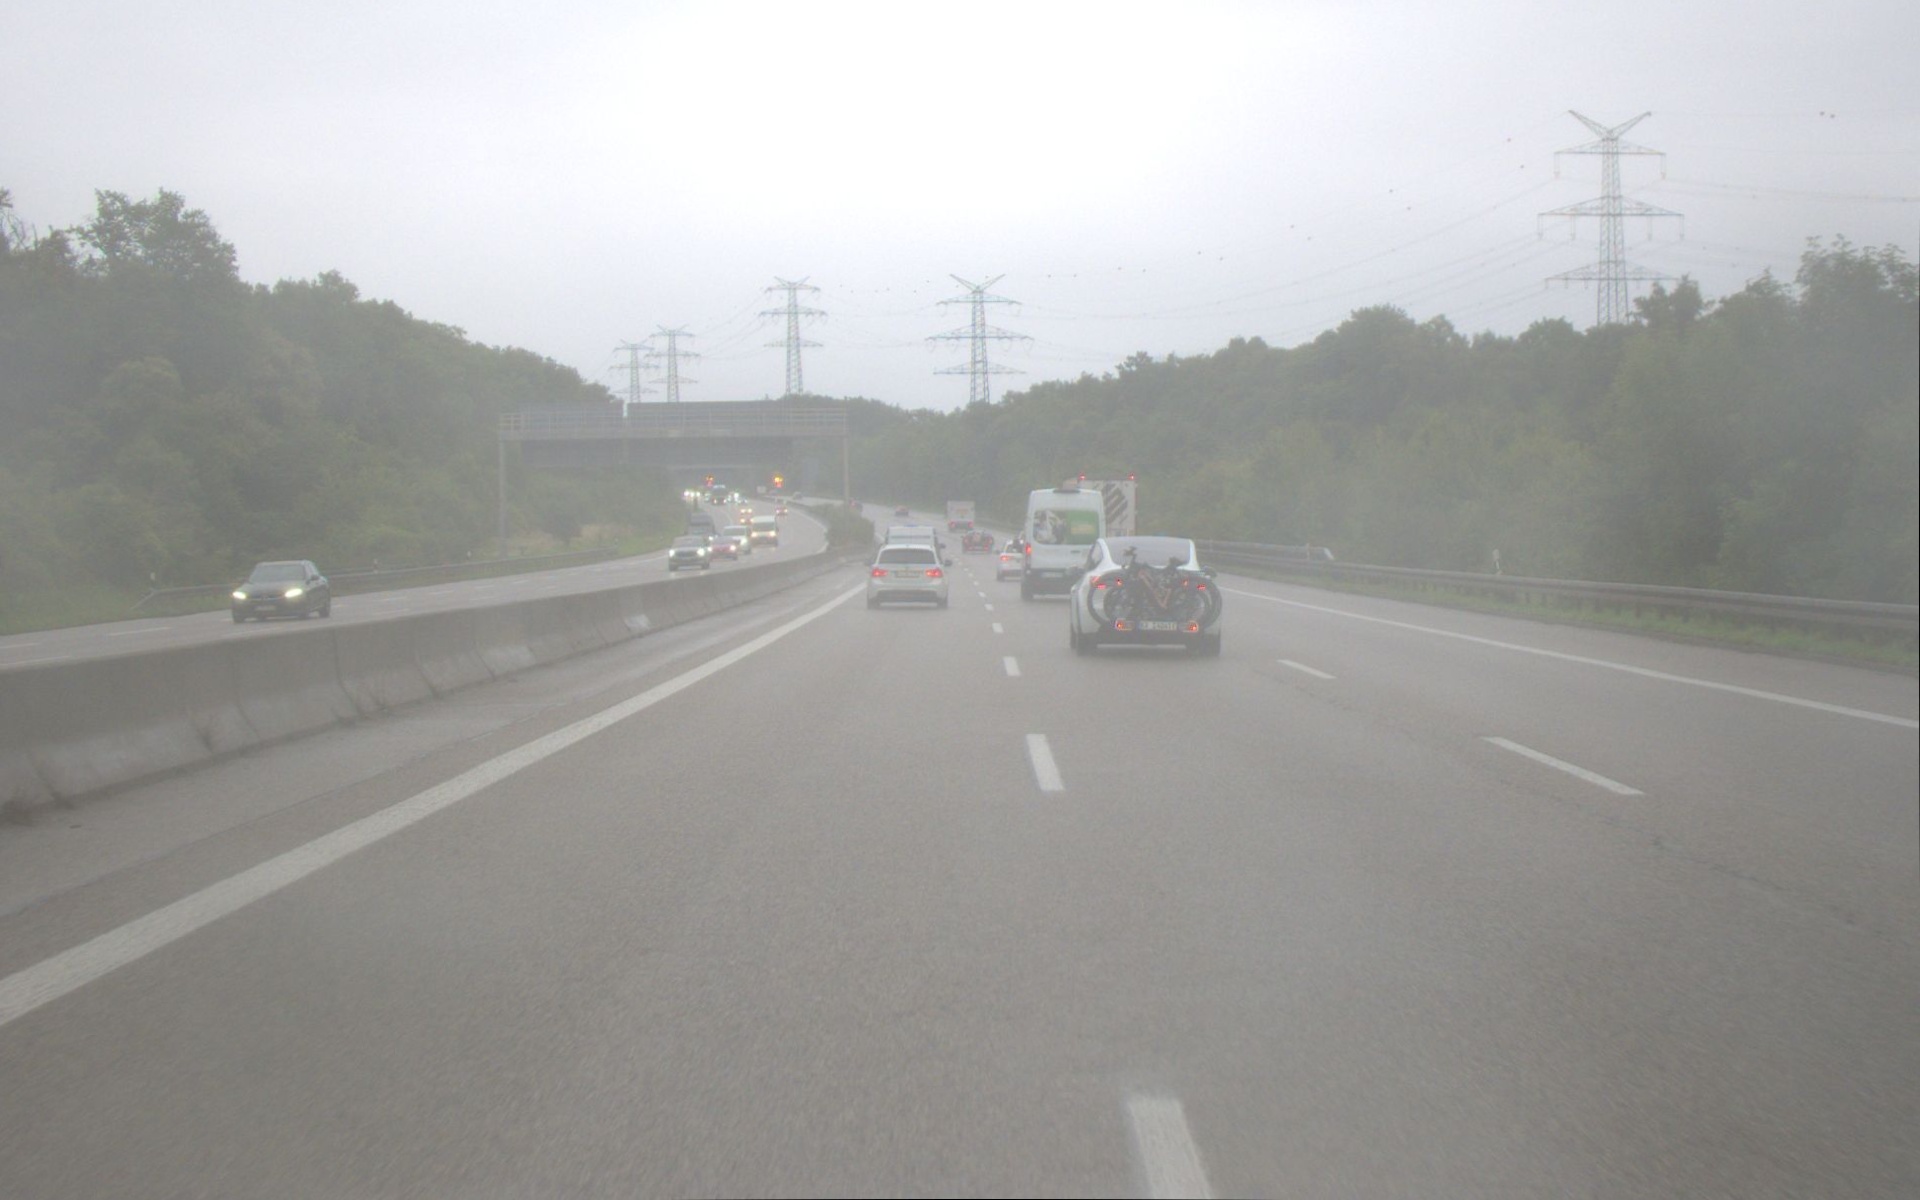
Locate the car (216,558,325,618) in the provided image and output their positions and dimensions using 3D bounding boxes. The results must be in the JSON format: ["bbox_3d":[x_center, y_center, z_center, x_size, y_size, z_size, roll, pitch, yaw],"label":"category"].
[{"bbox_3d":[-17.089,-0.320,85.379,1.798,1.380,4.468,-1,1,0],"label":"car"}]

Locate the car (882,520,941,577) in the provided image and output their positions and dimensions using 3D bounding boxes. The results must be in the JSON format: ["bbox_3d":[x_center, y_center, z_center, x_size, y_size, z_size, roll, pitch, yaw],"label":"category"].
[{"bbox_3d":[-1.589,-1.658,111.993,1.846,1.766,4.000,1,0,-1],"label":"car"}]

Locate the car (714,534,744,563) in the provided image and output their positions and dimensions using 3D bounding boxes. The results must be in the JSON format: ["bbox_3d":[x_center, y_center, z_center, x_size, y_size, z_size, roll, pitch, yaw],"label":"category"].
[{"bbox_3d":[-15.607,-3.459,232.269,1.741,1.897,4.530,-1,1,0],"label":"car"}]

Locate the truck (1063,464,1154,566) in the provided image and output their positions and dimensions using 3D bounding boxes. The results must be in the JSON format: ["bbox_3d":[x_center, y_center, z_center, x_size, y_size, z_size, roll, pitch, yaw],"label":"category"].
[{"bbox_3d":[6.518,-3.782,152.737,3.603,4.317,13.200,0,1,1],"label":"truck"}]

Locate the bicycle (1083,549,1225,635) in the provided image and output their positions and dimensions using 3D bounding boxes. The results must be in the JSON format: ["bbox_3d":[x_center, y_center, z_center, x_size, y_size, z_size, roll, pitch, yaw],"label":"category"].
[{"bbox_3d":[2.478,-0.102,44.027,1.753,1.087,0.914,0,0,-1],"label":"bicycle"}]

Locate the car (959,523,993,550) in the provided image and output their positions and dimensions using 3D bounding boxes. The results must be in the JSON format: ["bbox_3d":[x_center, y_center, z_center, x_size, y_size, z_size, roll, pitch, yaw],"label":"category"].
[{"bbox_3d":[0.993,-3.931,212.613,1.993,1.568,4.000,-1,1,-1],"label":"car"}]

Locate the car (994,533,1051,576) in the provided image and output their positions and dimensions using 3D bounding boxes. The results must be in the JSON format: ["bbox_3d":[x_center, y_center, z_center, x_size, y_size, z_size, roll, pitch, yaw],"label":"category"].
[{"bbox_3d":[2.133,-1.586,118.394,1.857,1.417,4.000,0,2,0],"label":"car"}]

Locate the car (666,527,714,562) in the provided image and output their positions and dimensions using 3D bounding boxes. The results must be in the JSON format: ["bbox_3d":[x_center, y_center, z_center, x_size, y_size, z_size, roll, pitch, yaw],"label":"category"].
[{"bbox_3d":[-13.407,-2.777,170.873,1.993,1.682,4.917,-1,1,0],"label":"car"}]

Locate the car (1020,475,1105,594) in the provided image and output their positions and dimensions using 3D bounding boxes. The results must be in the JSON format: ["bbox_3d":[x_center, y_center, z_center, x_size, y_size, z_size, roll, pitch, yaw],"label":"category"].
[{"bbox_3d":[2.504,-1.615,84.872,1.993,2.854,4.000,-1,1,1],"label":"car"}]

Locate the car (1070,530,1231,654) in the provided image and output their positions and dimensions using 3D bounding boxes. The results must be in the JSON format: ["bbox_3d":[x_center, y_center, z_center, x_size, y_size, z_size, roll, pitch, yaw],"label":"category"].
[{"bbox_3d":[2.544,-0.155,46.976,1.860,1.562,4.964,1,2,-1],"label":"car"}]

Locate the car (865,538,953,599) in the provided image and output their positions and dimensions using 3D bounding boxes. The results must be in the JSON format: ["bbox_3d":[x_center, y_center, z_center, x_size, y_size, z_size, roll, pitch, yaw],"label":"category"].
[{"bbox_3d":[-1.132,-0.707,75.716,1.866,1.284,4.000,-1,1,-1],"label":"car"}]
